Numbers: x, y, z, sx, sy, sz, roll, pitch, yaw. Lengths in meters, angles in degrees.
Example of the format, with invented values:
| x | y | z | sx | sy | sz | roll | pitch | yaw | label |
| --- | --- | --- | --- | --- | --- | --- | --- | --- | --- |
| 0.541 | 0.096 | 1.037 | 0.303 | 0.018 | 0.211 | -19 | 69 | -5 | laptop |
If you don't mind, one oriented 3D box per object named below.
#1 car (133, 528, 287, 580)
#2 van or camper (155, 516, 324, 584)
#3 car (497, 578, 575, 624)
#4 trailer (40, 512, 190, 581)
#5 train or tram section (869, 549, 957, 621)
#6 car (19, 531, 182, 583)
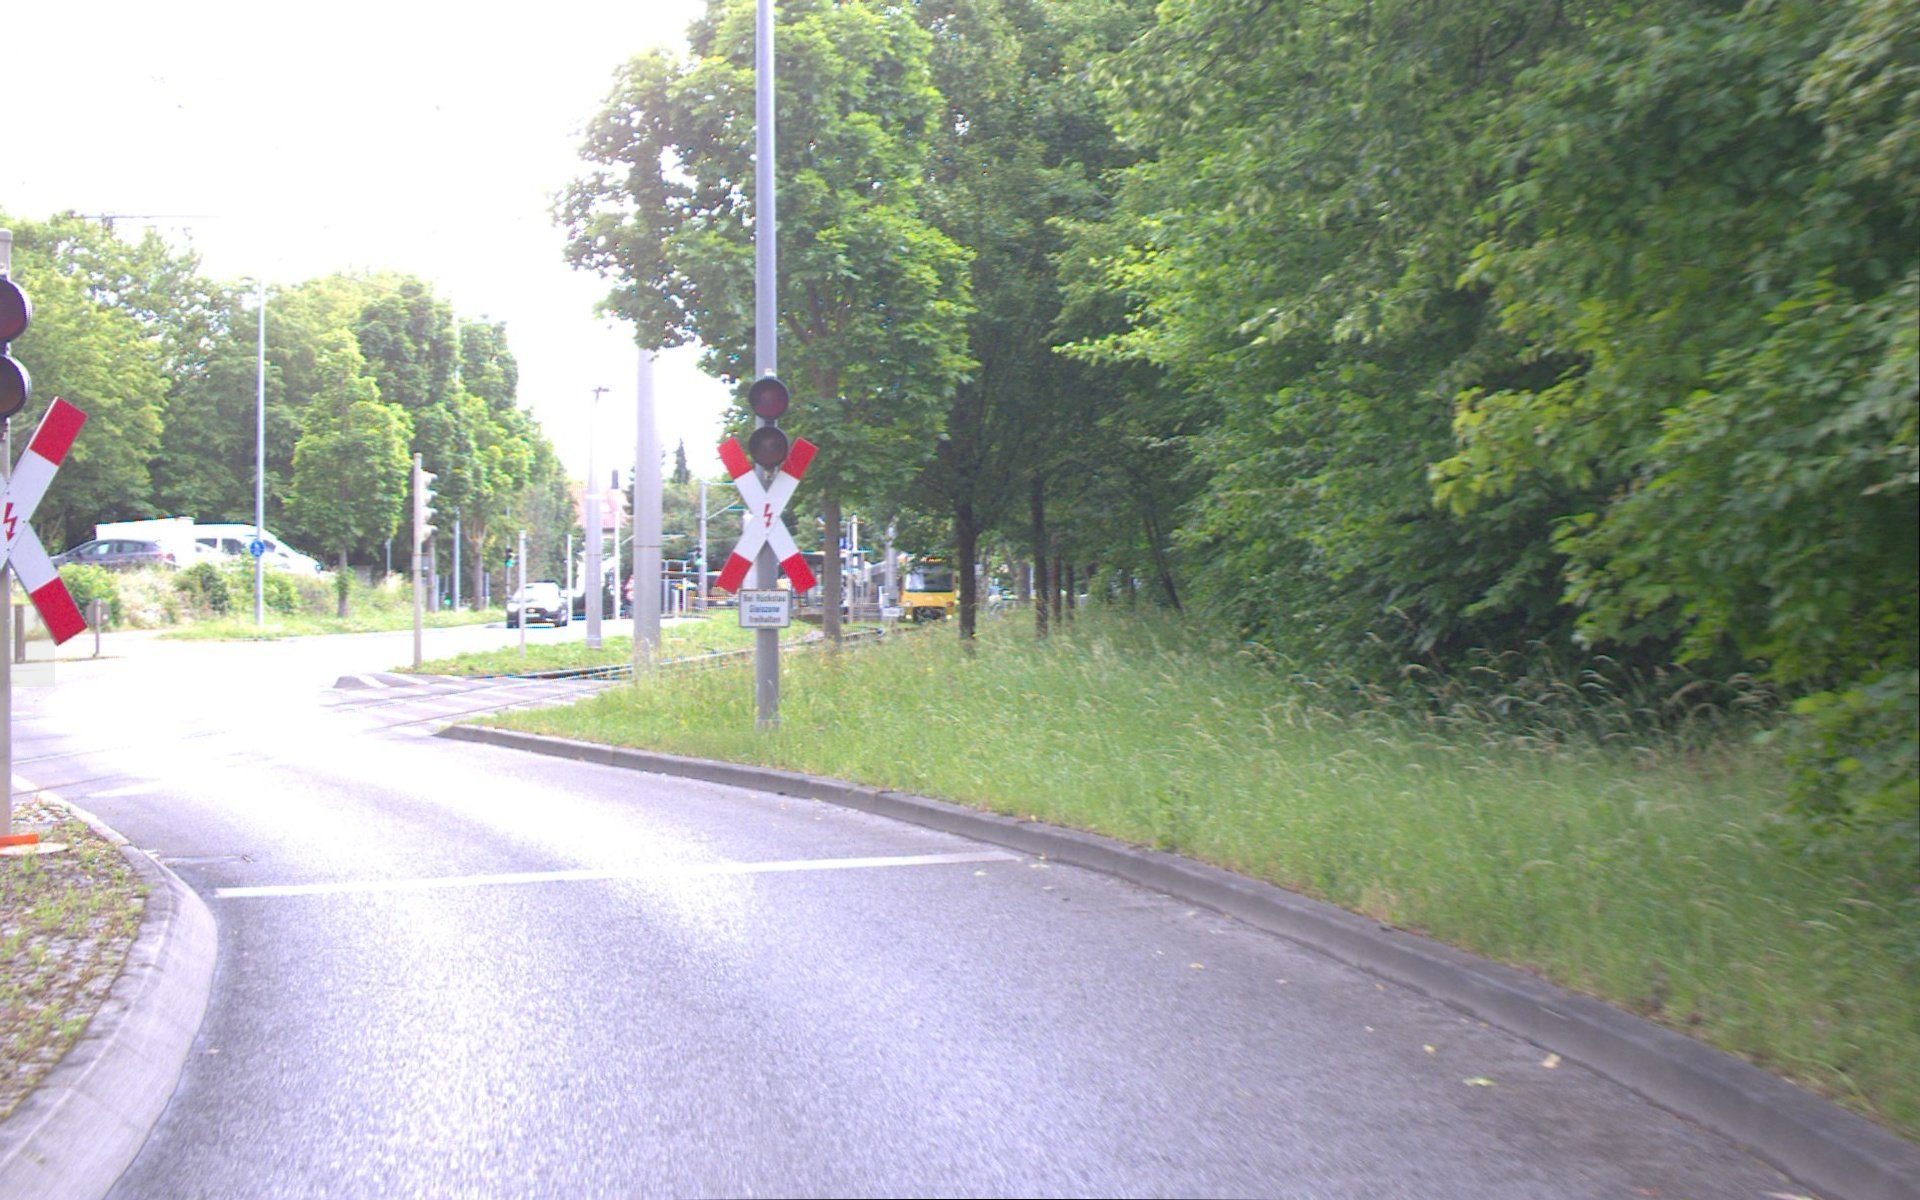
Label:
| x | y | z | sx | sy | sz | roll | pitch | yaw | label |
| --- | --- | --- | --- | --- | --- | --- | --- | --- | --- |
| -25.147 | -1.541 | 115.342 | 4.643 | 1.650 | 1.999 | 1 | 0 | 7 | car |
| -24.672 | -1.718 | 117.871 | 5.332 | 2.195 | 2.000 | 1 | 1 | 0 | van or camper |
| -14.192 | 0.017 | 115.219 | 1.993 | 1.433 | 4.426 | -1 | 1 | 1 | car |
| -25.404 | -1.603 | 103.448 | 3.987 | 2.007 | 1.908 | 1 | 1 | 3 | trailer |
| -2.637 | -0.816 | 177.373 | 3.007 | 3.299 | 34.715 | 1 | 0 | -3 | train or tram section |
| -25.075 | -1.245 | 100.402 | 4.311 | 1.444 | 1.836 | -1 | 1 | -4 | car |
